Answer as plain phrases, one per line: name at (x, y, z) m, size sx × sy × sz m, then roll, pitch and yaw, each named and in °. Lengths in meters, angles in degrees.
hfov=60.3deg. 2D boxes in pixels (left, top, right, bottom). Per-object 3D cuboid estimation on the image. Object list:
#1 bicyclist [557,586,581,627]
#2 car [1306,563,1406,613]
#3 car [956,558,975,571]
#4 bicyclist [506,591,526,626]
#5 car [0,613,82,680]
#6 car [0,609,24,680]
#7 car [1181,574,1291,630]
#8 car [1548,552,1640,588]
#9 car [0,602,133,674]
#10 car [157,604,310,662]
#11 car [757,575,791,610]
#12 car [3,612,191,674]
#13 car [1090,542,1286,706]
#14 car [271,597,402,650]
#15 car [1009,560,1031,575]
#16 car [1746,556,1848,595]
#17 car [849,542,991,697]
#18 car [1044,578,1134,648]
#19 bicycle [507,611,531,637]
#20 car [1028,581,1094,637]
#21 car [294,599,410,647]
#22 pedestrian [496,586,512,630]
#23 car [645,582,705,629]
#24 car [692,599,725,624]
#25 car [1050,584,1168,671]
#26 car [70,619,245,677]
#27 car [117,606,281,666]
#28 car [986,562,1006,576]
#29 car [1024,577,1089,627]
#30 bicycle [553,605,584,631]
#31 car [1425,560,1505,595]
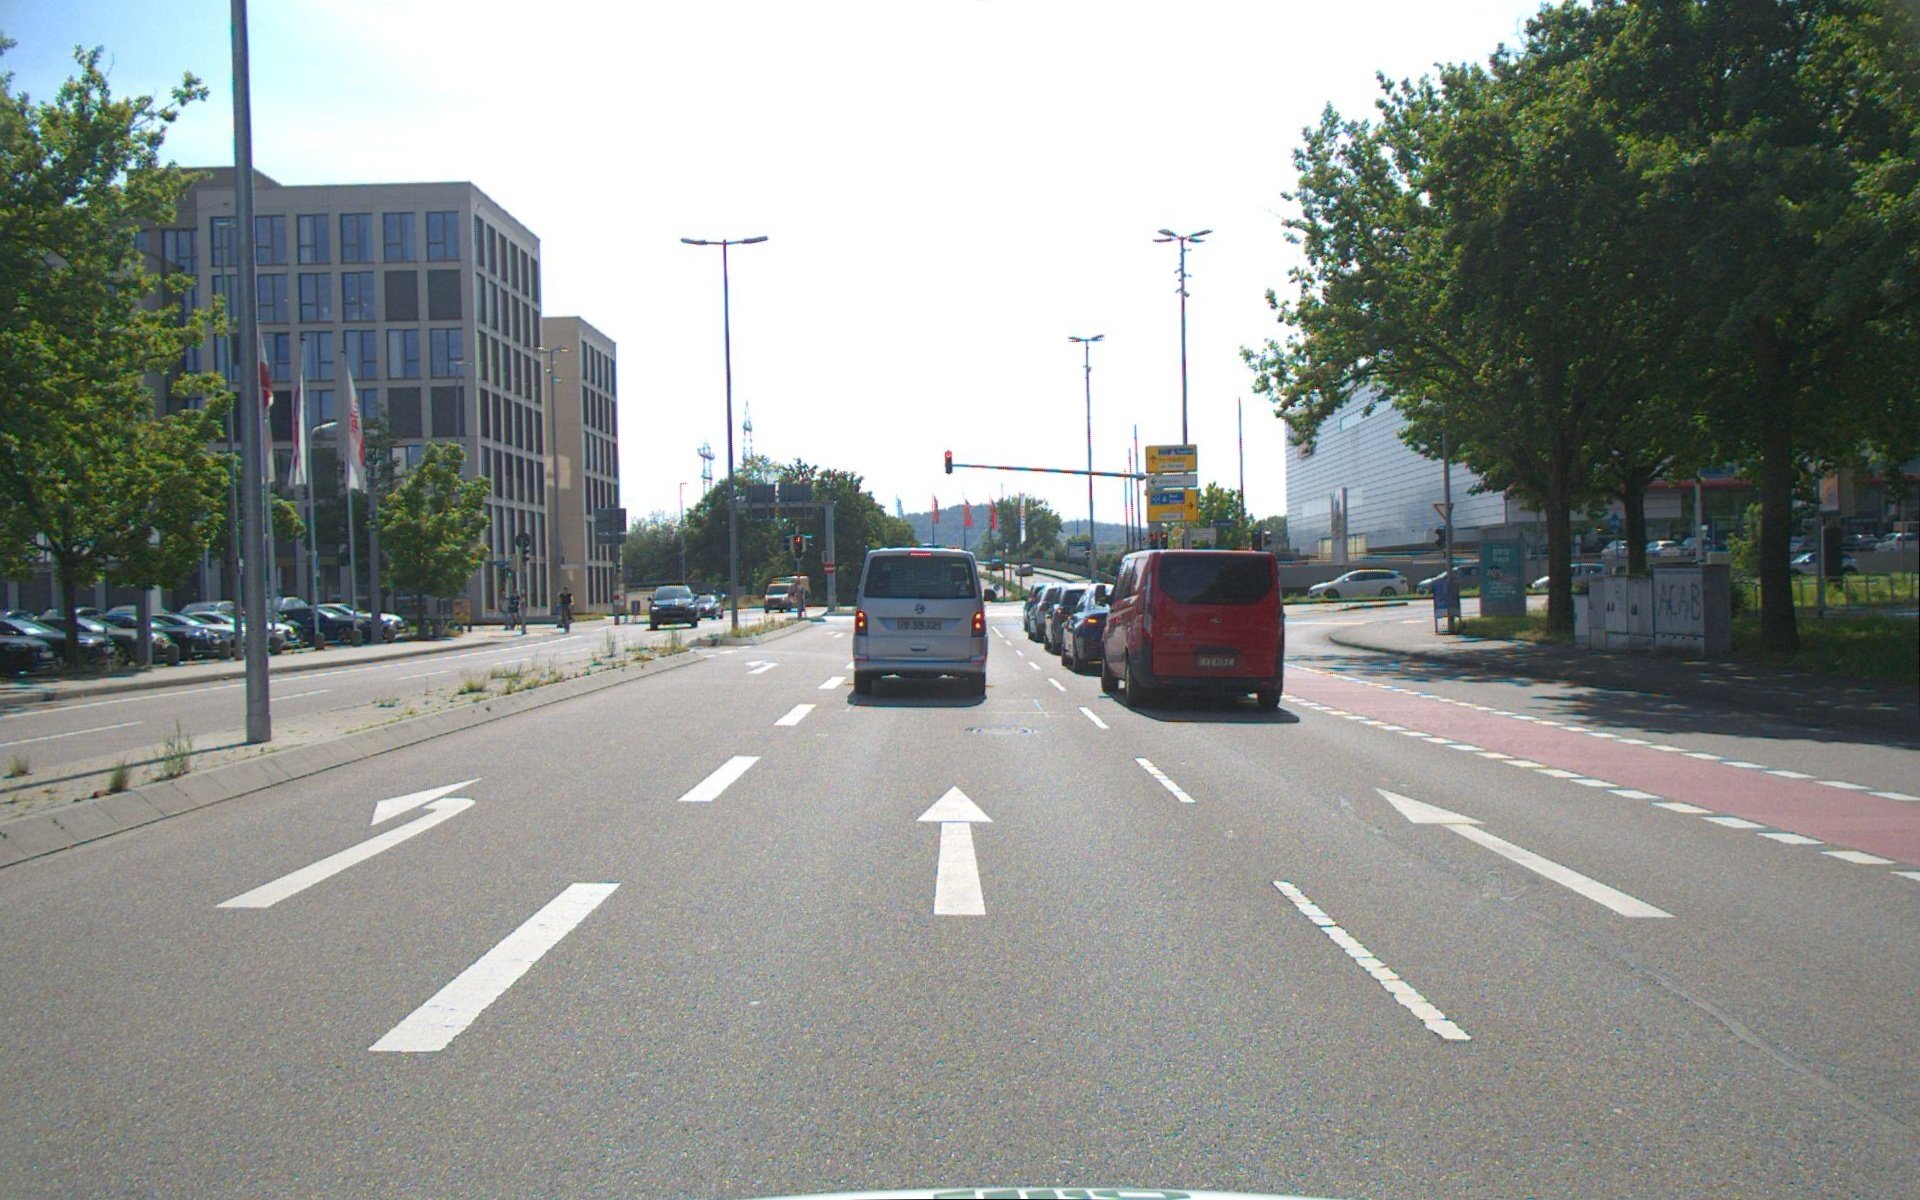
bicyclist at (-15.148, 0.259, 64.116) m, size 0.606 × 1.553 × 1.036 m, roll -2°, pitch 0°, yaw 0°
car at (18.611, -0.571, 77.826) m, size 4.310 × 2.029 × 1.482 m, roll -4°, pitch 0°, yaw 4°
car at (0.837, -5.619, 260.138) m, size 1.961 × 2.049 × 3.983 m, roll 0°, pitch 1°, yaw -16°
bicyclist at (-19.770, 0.384, 73.710) m, size 0.617 × 1.527 × 1.028 m, roll 0°, pitch 0°, yaw -1°
car at (-22.141, 1.161, 36.761) m, size 4.081 × 1.354 × 2.038 m, roll -5°, pitch 1°, yaw 3°
car at (-21.819, 1.101, 34.169) m, size 3.794 × 1.444 × 1.912 m, roll -5°, pitch 1°, yaw 3°
car at (11.613, 0.075, 69.686) m, size 4.311 × 2.029 × 1.481 m, roll -4°, pitch 0°, yaw 1°
car at (32.438, -1.522, 84.655) m, size 4.046 × 1.545 × 1.482 m, roll -4°, pitch 0°, yaw 4°
car at (-21.883, 0.946, 39.027) m, size 3.794 × 1.444 × 1.660 m, roll -5°, pitch 1°, yaw 3°
car at (-22.180, 1.007, 50.587) m, size 3.794 × 1.388 × 1.749 m, roll -5°, pitch 1°, yaw 3°
car at (-14.399, -0.589, 128.511) m, size 2.358 × 2.605 × 6.888 m, roll -2°, pitch 1°, yaw -5°
car at (-22.080, 1.087, 42.386) m, size 3.794 × 1.172 × 1.796 m, roll -5°, pitch 1°, yaw 3°
car at (2.991, 0.262, 22.771) m, size 1.927 × 2.002 × 5.124 m, roll 0°, pitch 1°, yaw -1°
car at (-22.035, 0.802, 58.577) m, size 3.795 × 1.490 × 1.868 m, roll -5°, pitch 1°, yaw 1°
car at (8.451, -4.492, 231.735) m, size 1.961 × 2.049 × 3.983 m, roll 0°, pitch 1°, yaw -16°
car at (39.955, -1.182, 79.008) m, size 4.046 × 1.545 × 1.482 m, roll -4°, pitch 0°, yaw 4°
car at (-0.545, 0.231, 23.676) m, size 1.846 × 2.025 × 4.000 m, roll 0°, pitch 1°, yaw -1°
car at (2.957, 0.256, 38.616) m, size 1.711 × 1.543 × 4.077 m, roll 0°, pitch 1°, yaw -1°
bicycle at (-19.661, 1.059, 73.732) m, size 0.573 × 1.069 × 1.876 m, roll 0°, pitch 1°, yaw -1°
car at (2.749, 0.213, 45.653) m, size 1.546 × 1.483 × 3.785 m, roll 0°, pitch 1°, yaw -1°
car at (-22.235, 0.834, 60.561) m, size 3.521 × 1.381 × 1.640 m, roll -5°, pitch 1°, yaw 0°
pedestrian at (-21.646, 0.380, 78.481) m, size 0.547 × 2.049 × 0.576 m, roll 0°, pitch 0°, yaw 2°
car at (-11.083, 0.187, 64.467) m, size 1.704 × 1.646 × 4.207 m, roll -4°, pitch 1°, yaw -3°
car at (-15.336, 0.694, 100.948) m, size 1.545 × 1.434 × 4.377 m, roll -2°, pitch 1°, yaw -3°
car at (2.654, 0.449, 30.417) m, size 1.711 × 1.484 × 4.475 m, roll 0°, pitch 1°, yaw -1°
car at (-22.004, 1.307, 45.432) m, size 3.794 × 1.186 × 1.912 m, roll -5°, pitch 1°, yaw 3°
car at (-22.042, 1.031, 48.005) m, size 3.794 × 1.356 × 1.849 m, roll -5°, pitch 1°, yaw 3°
car at (5.367, -4.566, 247.622) m, size 1.961 × 2.049 × 3.983 m, roll 0°, pitch 1°, yaw -16°
car at (3.075, 0.034, 53.286) m, size 1.799 × 1.552 × 4.000 m, roll 0°, pitch 1°, yaw -1°
bicycle at (-15.163, 0.698, 64.092) m, size 0.666 × 0.957 × 1.973 m, roll -2°, pitch 1°, yaw 0°
car at (24.571, -1.100, 80.544) m, size 3.397 × 1.455 × 1.482 m, roll -4°, pitch 0°, yaw 4°
